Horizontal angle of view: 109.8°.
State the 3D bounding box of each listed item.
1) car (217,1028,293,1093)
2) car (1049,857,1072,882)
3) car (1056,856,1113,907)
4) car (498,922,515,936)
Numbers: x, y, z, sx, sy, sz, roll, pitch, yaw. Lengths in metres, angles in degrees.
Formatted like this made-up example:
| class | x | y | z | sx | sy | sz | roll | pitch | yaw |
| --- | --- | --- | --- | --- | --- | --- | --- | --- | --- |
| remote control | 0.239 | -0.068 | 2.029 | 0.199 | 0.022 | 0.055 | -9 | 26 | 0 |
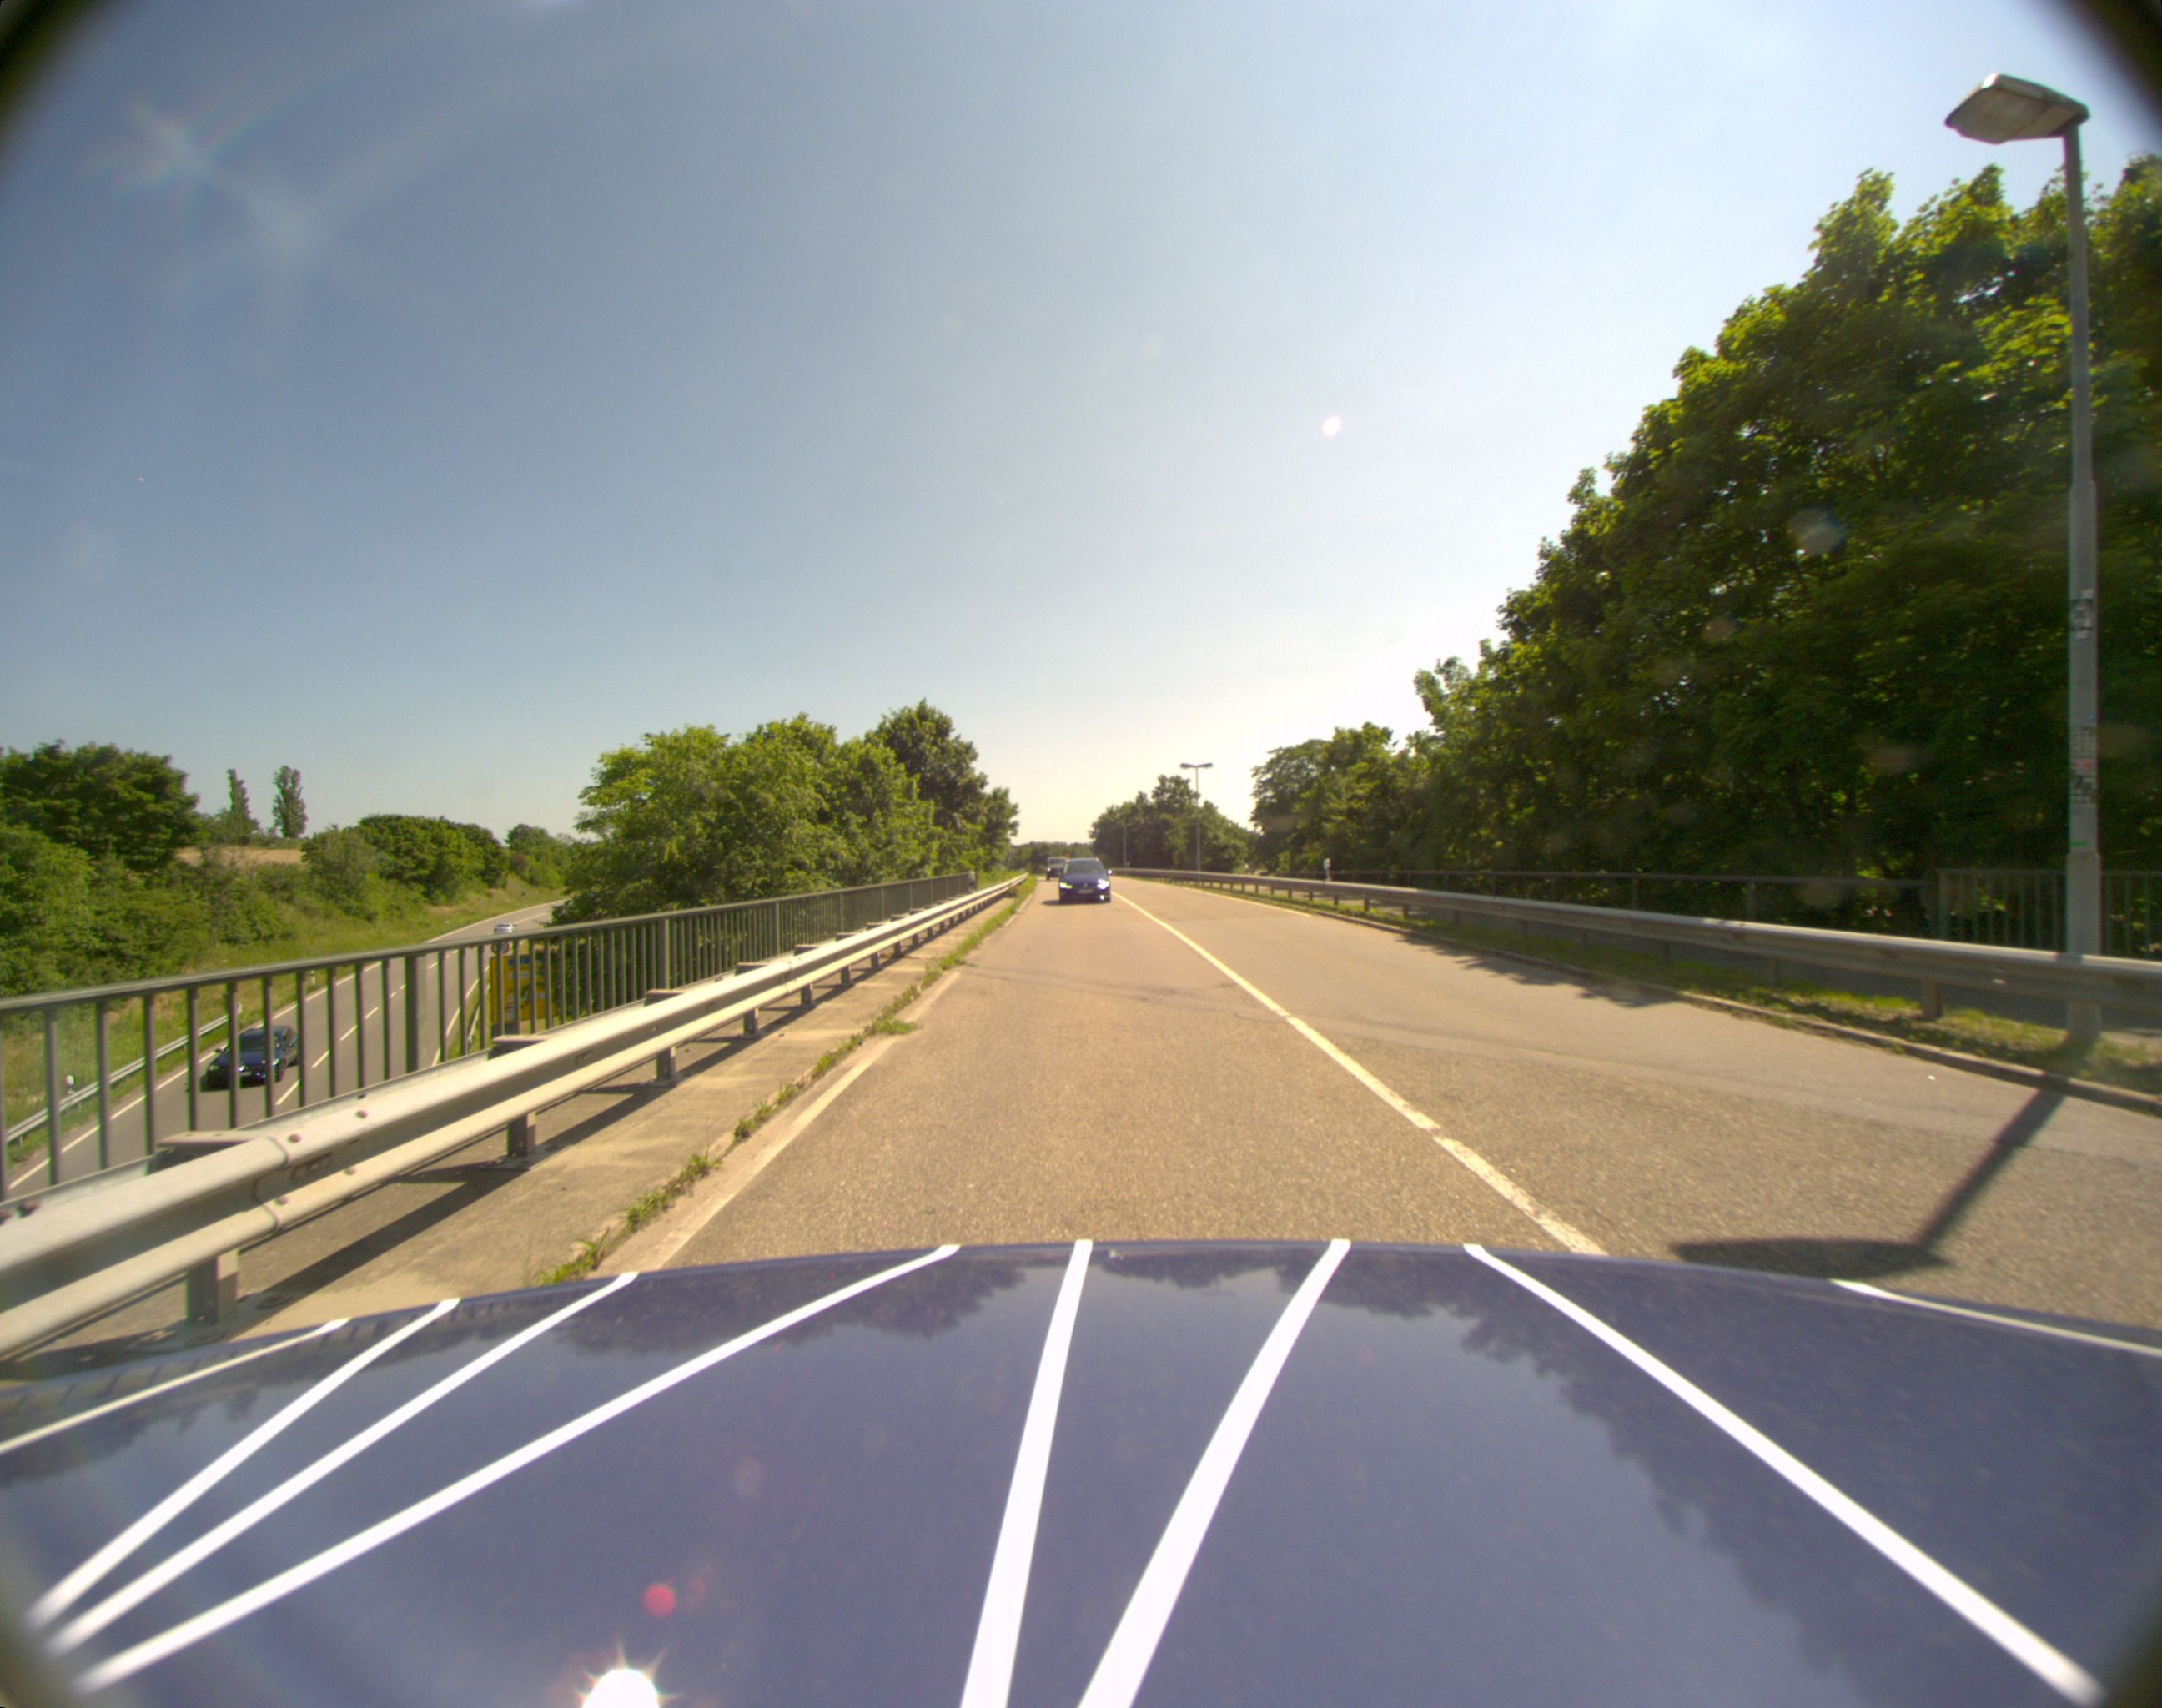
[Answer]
| class | x | y | z | sx | sy | sz | roll | pitch | yaw |
| --- | --- | --- | --- | --- | --- | --- | --- | --- | --- |
| car | -31.588 | 7.842 | 29.148 | 1.494 | 1.567 | 3.599 | 1 | -2 | -39 |
| car | -1.722 | 1.361 | 64.200 | 1.779 | 2.006 | 4.001 | -1 | -2 | -2 |
| car | 0.066 | 0.909 | 27.113 | 1.828 | 1.591 | 4.195 | -2 | 0 | -2 |
| car | -66.714 | 8.648 | 88.190 | 1.525 | 1.189 | 3.410 | -1 | 1 | -37 |
